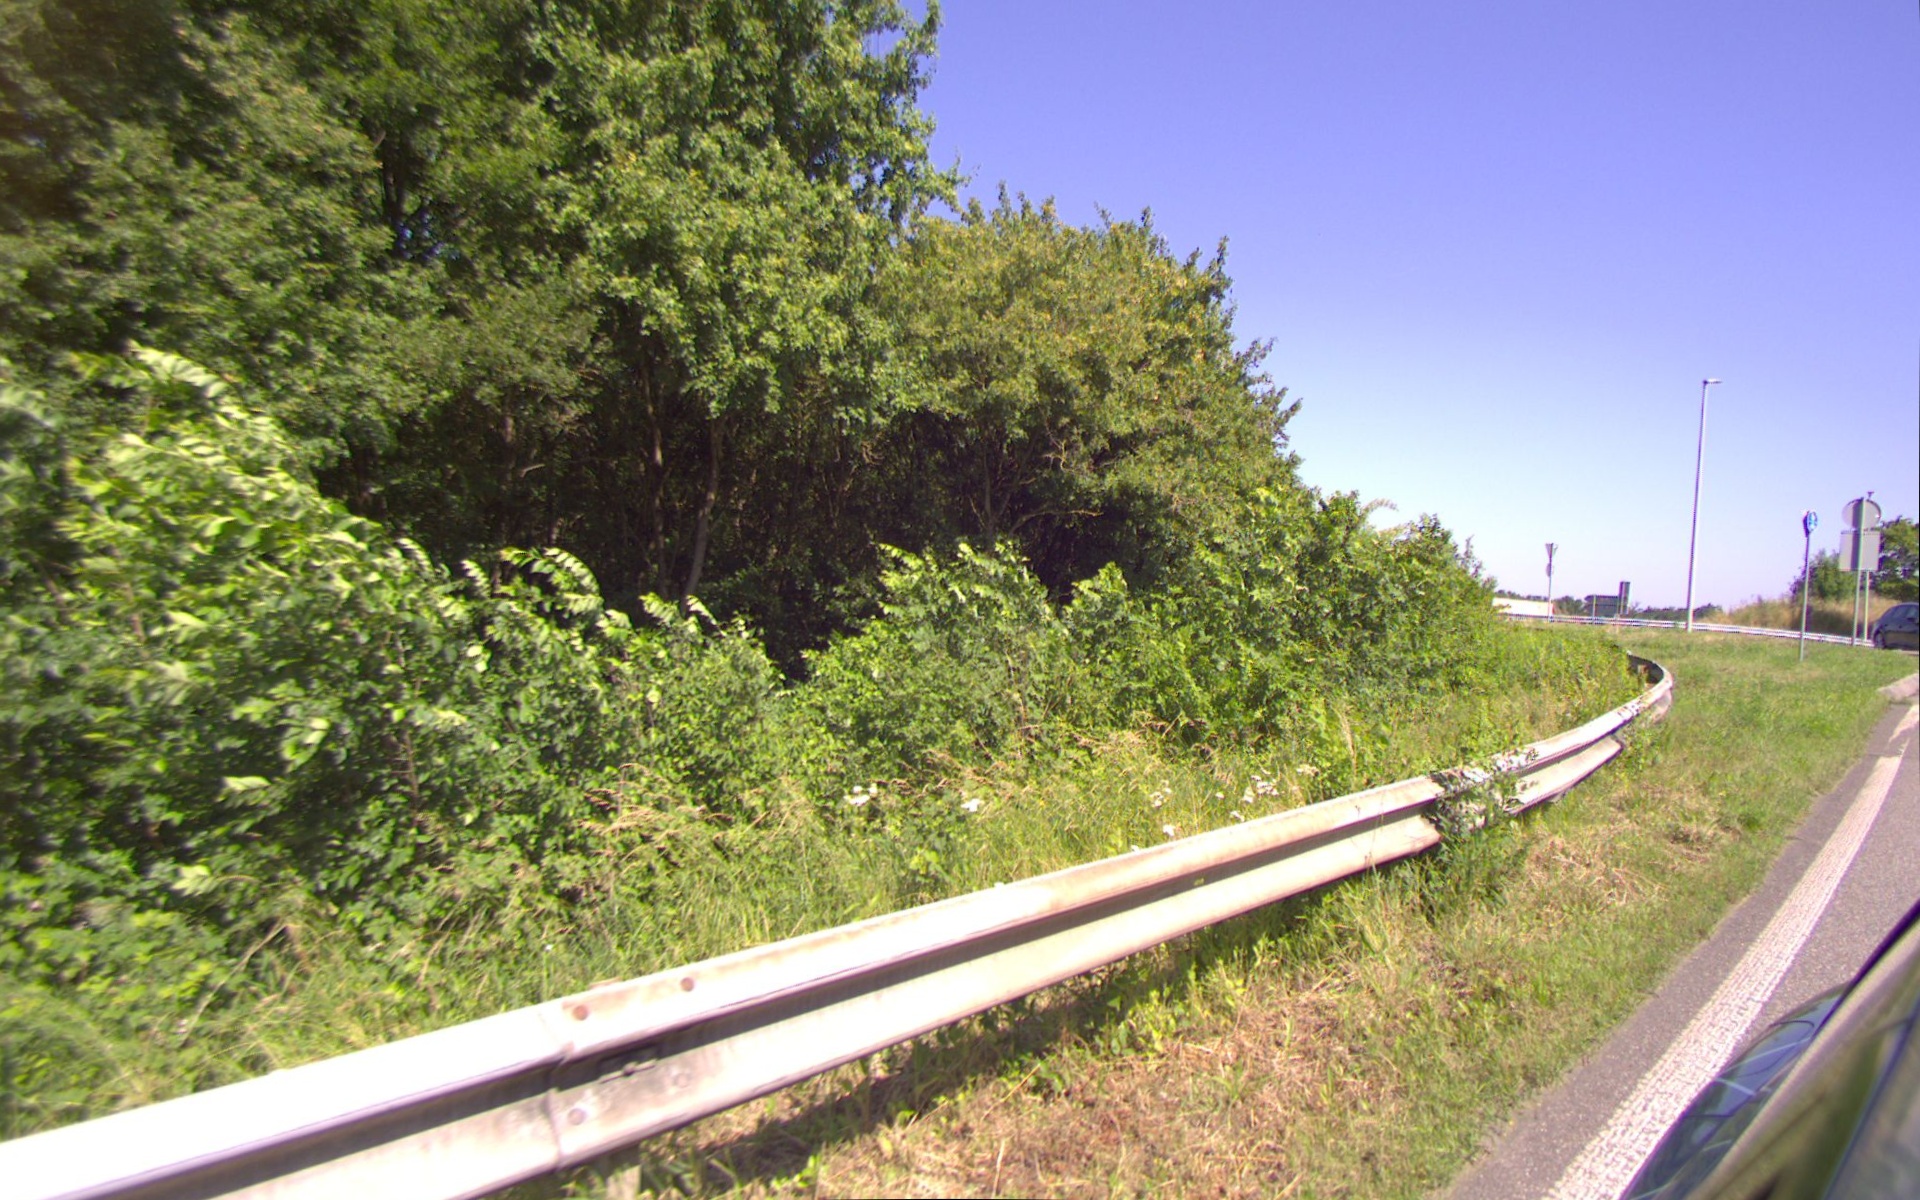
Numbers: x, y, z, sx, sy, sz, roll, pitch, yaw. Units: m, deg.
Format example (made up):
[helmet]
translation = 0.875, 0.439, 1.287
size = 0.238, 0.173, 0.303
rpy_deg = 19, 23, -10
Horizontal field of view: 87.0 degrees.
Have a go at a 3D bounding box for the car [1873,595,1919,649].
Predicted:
[car]
translation = 25.919, 0.622, 26.337
size = 1.787, 1.415, 4.149
rpy_deg = 3, 1, 22
